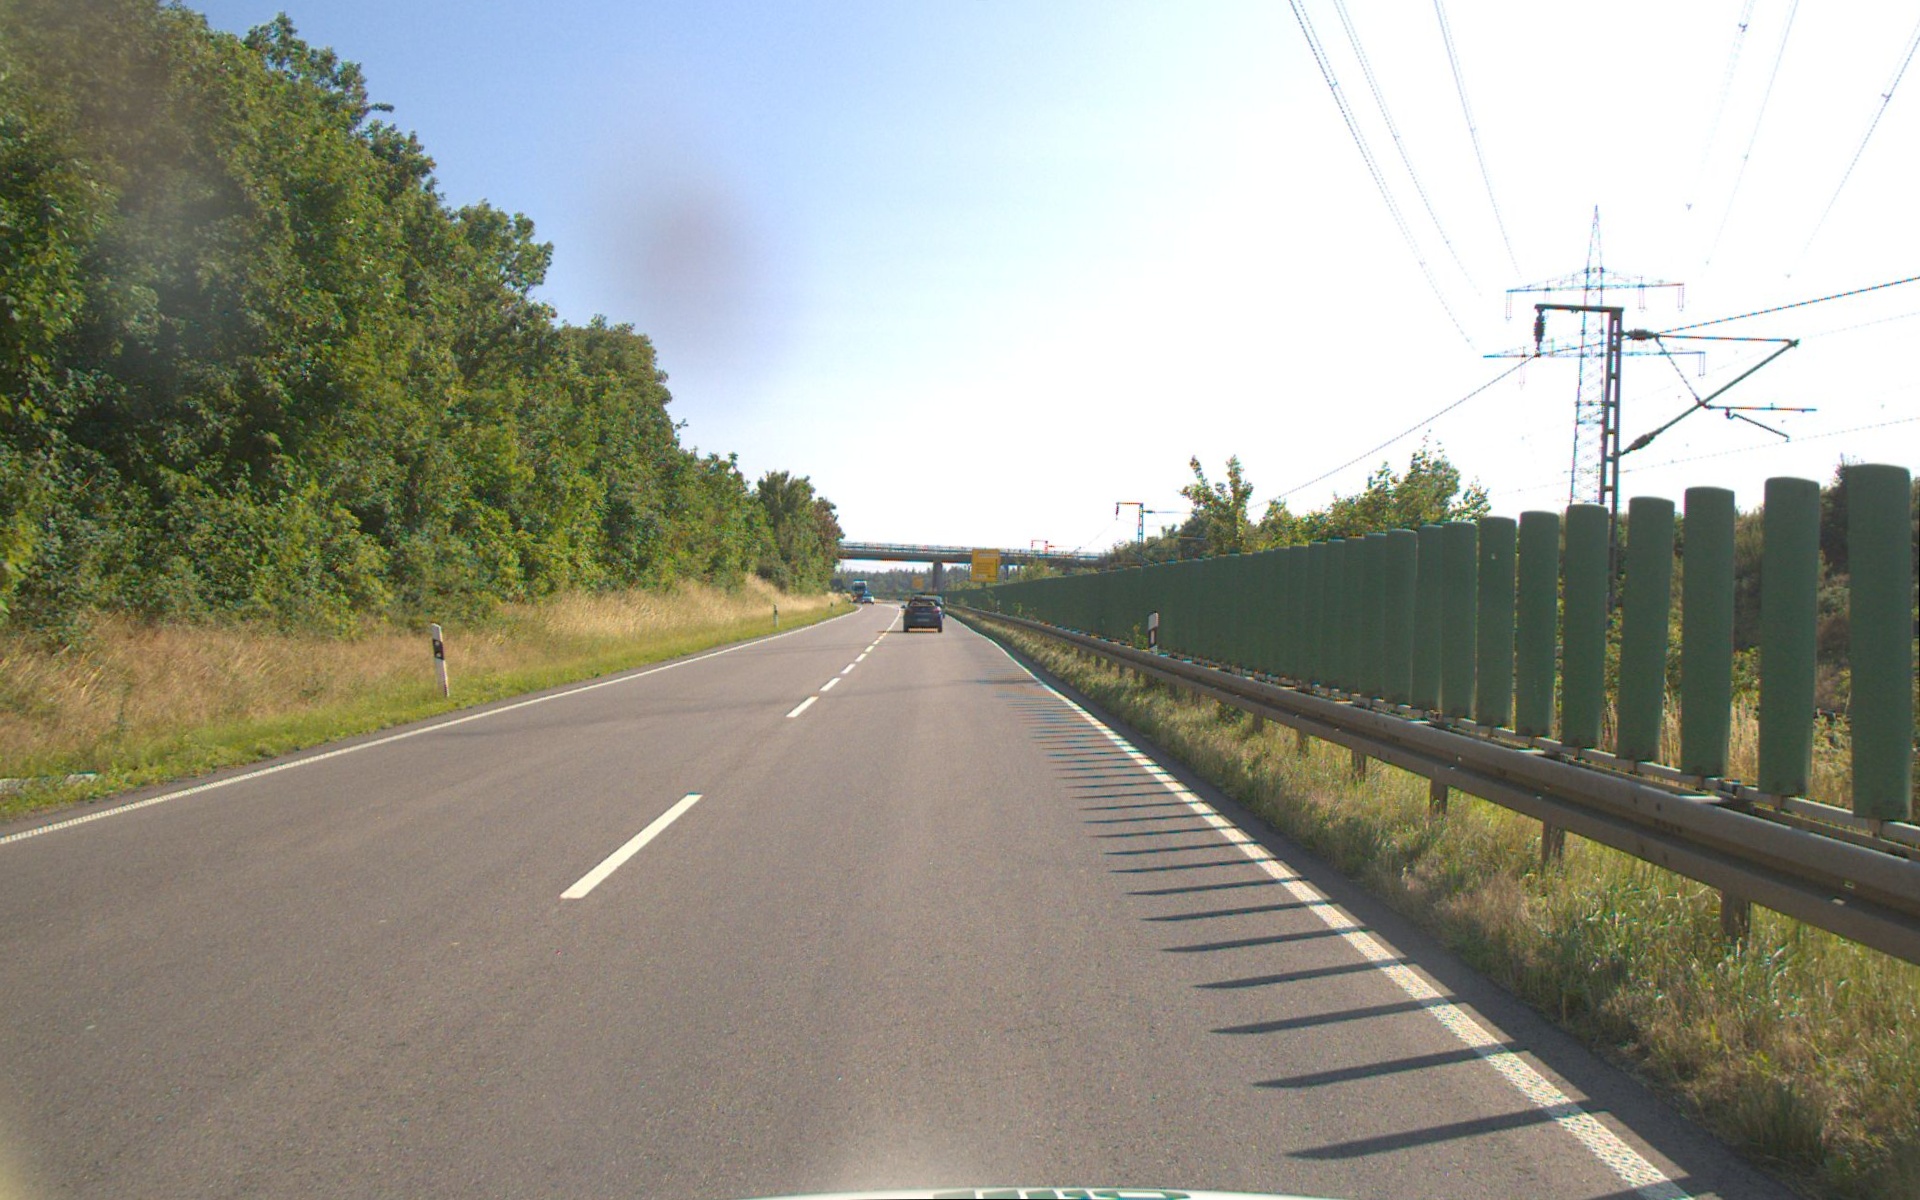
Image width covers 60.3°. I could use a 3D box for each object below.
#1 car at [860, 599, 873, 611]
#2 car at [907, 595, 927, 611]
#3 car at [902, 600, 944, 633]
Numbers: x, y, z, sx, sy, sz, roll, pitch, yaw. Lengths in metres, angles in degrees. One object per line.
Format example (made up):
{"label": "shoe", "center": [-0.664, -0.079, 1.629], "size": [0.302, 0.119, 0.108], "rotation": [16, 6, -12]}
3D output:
{"label": "car", "center": [-13.390, 0.748, 237.213], "size": [1.760, 1.621, 3.998], "rotation": [1, 0, -3]}
{"label": "car", "center": [-4.162, 0.313, 160.128], "size": [1.857, 1.443, 3.998], "rotation": [1, 0, -3]}
{"label": "car", "center": [-1.557, 0.680, 68.927], "size": [1.630, 1.283, 3.998], "rotation": [1, 0, -3]}
